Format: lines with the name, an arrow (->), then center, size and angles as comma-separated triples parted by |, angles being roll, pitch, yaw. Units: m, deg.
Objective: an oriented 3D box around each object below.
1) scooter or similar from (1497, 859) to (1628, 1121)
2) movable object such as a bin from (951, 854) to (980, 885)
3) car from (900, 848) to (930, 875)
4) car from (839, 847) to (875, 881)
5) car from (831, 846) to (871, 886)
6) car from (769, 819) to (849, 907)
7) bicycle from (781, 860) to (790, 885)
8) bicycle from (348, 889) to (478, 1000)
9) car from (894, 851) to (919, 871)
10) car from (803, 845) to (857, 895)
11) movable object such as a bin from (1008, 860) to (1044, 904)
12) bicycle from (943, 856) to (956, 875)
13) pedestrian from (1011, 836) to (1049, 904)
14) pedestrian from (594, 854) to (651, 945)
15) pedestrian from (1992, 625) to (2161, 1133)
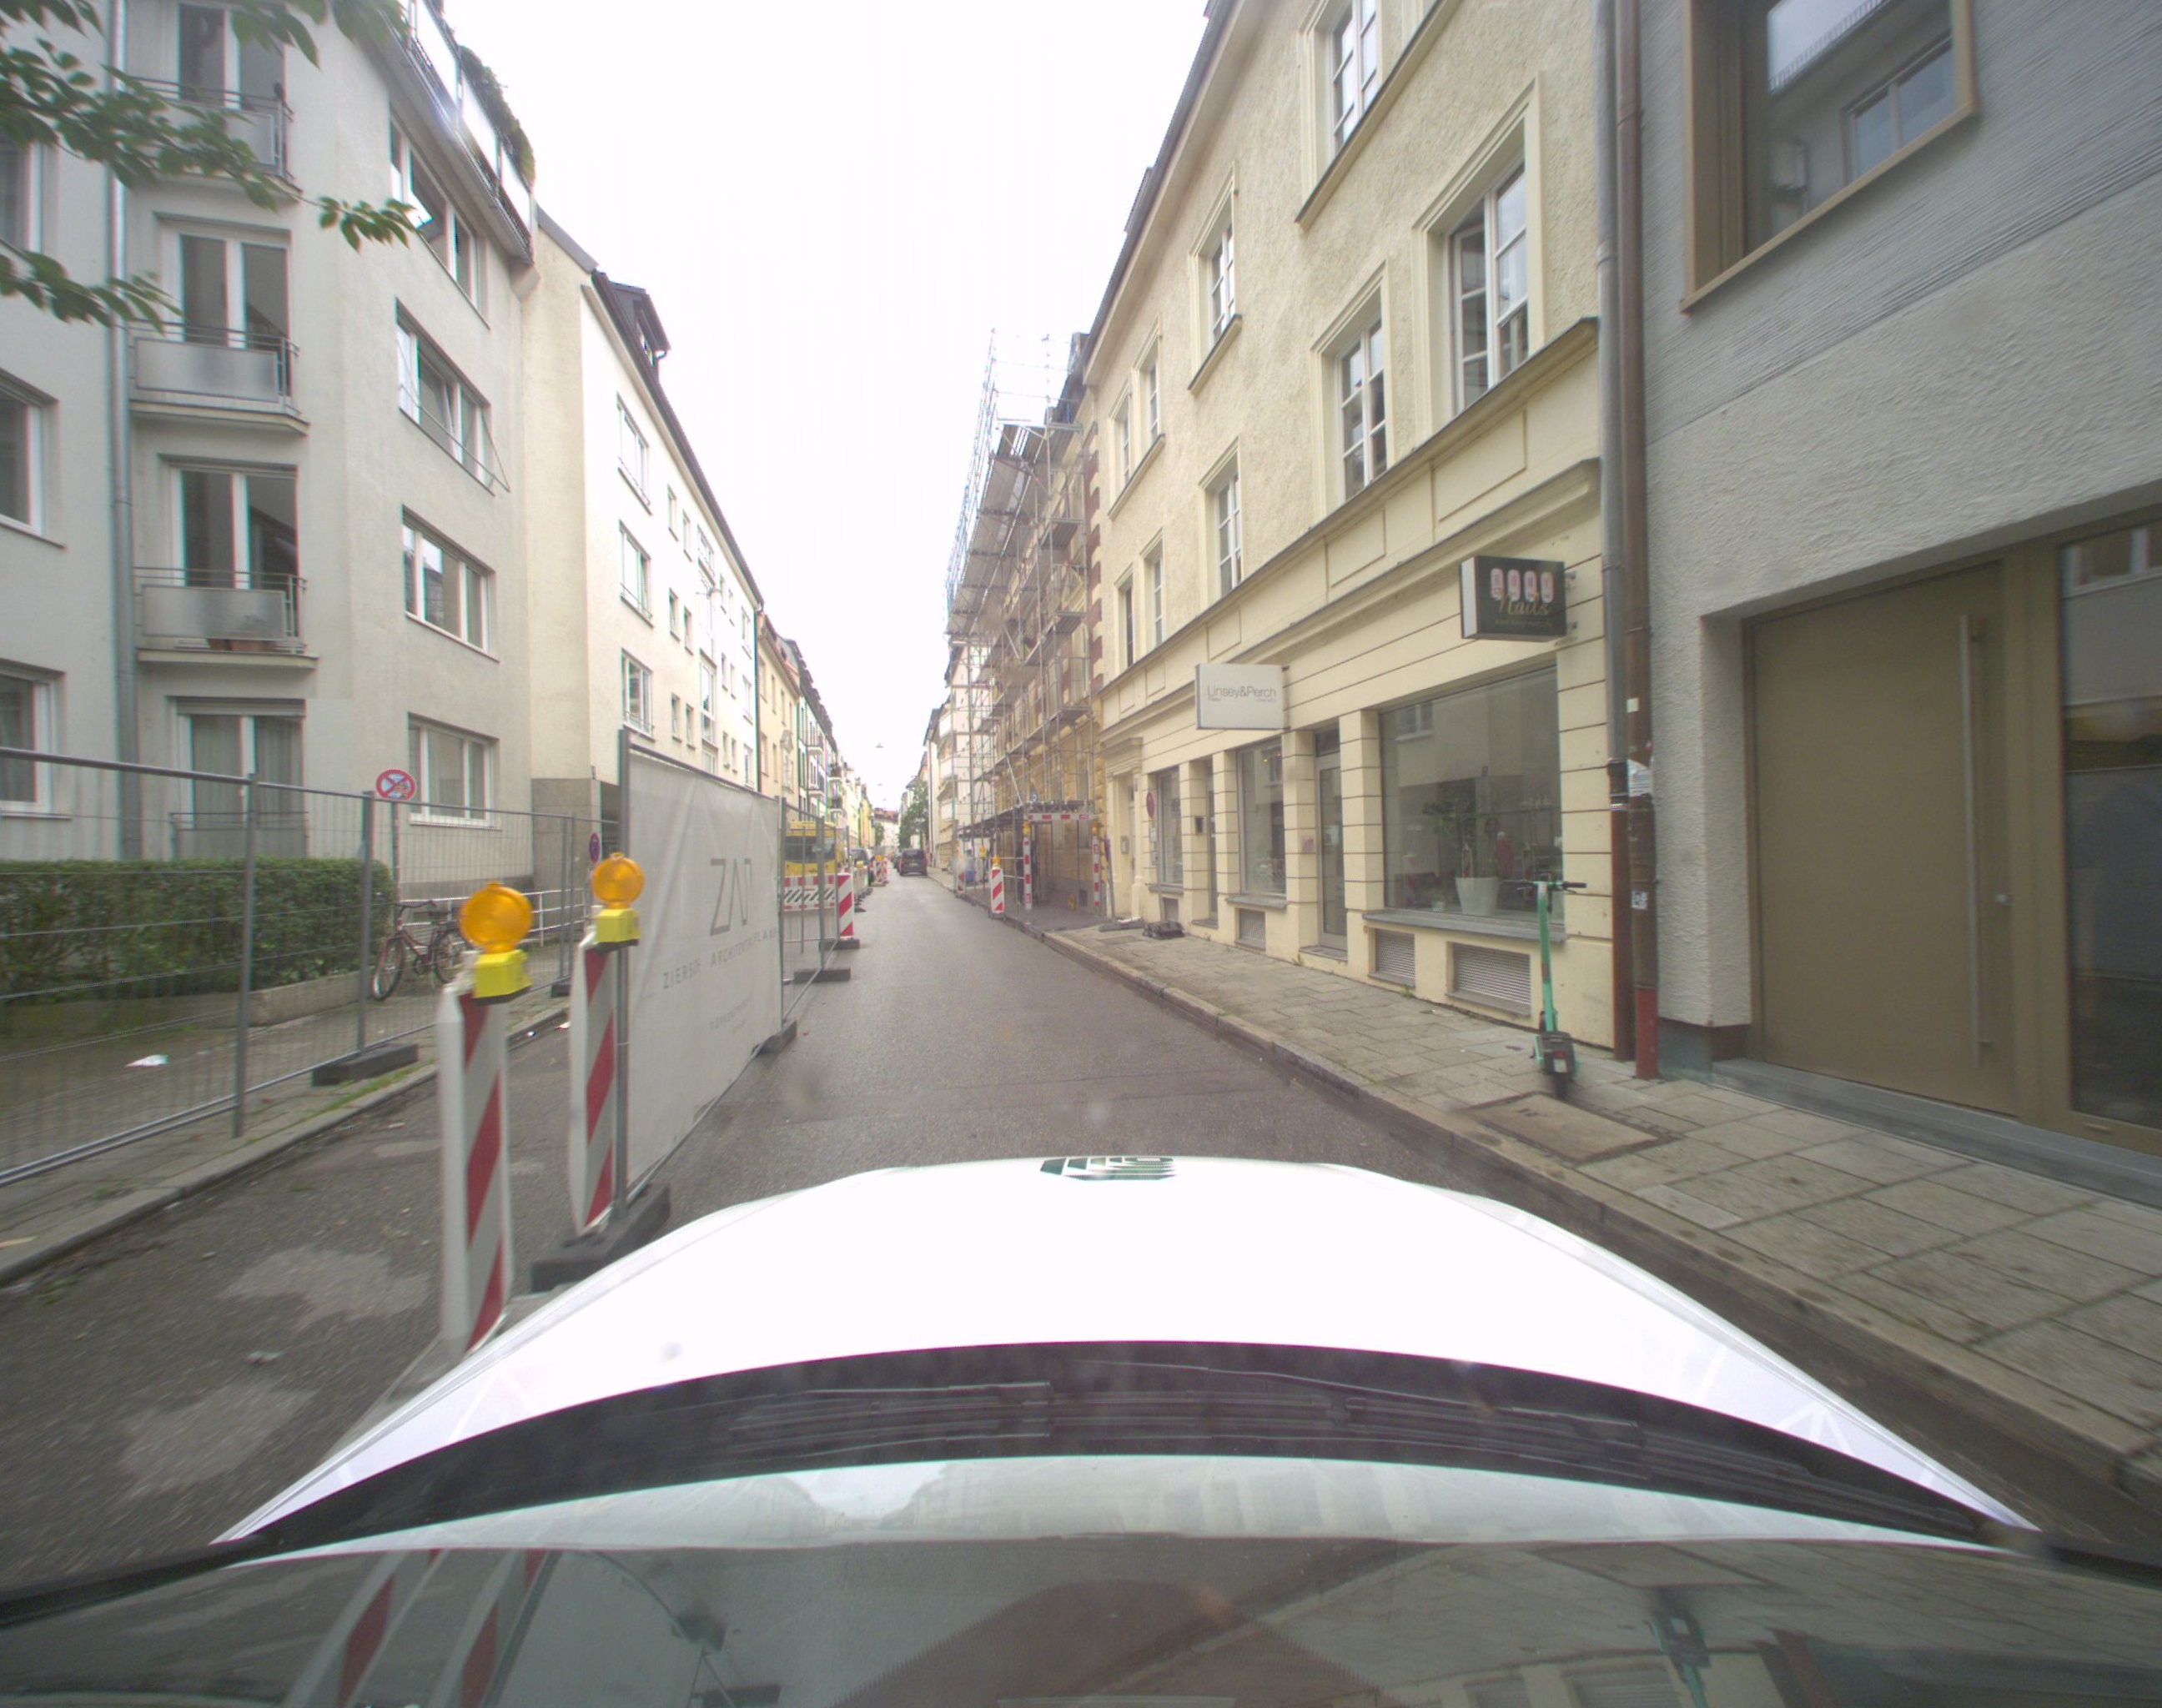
scooter or similar -> 2.758, 0.681, 4.778 | 0.489, 1.183, 1.618 | -4, 1, 27
movable object such as a bin -> -5.447, 0.730, 38.528 | 1.083, 1.346, 1.317 | -4, 1, -1
car -> -12.196, 0.522, 59.703 | 1.996, 1.932, 4.637 | 0, 0, -14
car -> -13.484, 0.601, 48.902 | 1.909, 1.897, 5.060 | -1, 0, -17
car -> -12.081, 0.592, 42.989 | 1.729, 1.897, 5.483 | -3, 1, -14
car -> -9.082, 0.269, 27.732 | 1.997, 2.578, 6.704 | -2, 0, -14
bicycle -> -15.092, 0.907, 41.557 | 0.382, 1.188, 2.121 | 0, 1, -21
bicycle -> -7.472, 0.974, 9.196 | 0.377, 1.063, 1.590 | 5, -1, -13
car -> -14.894, 0.576, 69.515 | 1.897, 1.641, 4.300 | -2, 0, -14
car -> -10.730, 0.659, 35.055 | 1.921, 1.897, 4.766 | -3, 1, -15
movable object such as a bin -> -1.540, 0.769, 22.831 | 0.731, 1.140, 0.983 | -6, 1, -15
bicycle -> -8.654, 0.766, 53.645 | 0.639, 1.153, 1.907 | -4, 2, -13
pedestrian -> -1.395, 0.415, 22.167 | 0.730, 1.752, 0.983 | -5, 1, -14
pedestrian -> -7.980, 0.768, 14.199 | 0.638, 1.532, 0.744 | -1, 0, -12
pedestrian -> 4.537, 0.096, 3.453 | 0.432, 2.013, 0.796 | -4, 0, 13
